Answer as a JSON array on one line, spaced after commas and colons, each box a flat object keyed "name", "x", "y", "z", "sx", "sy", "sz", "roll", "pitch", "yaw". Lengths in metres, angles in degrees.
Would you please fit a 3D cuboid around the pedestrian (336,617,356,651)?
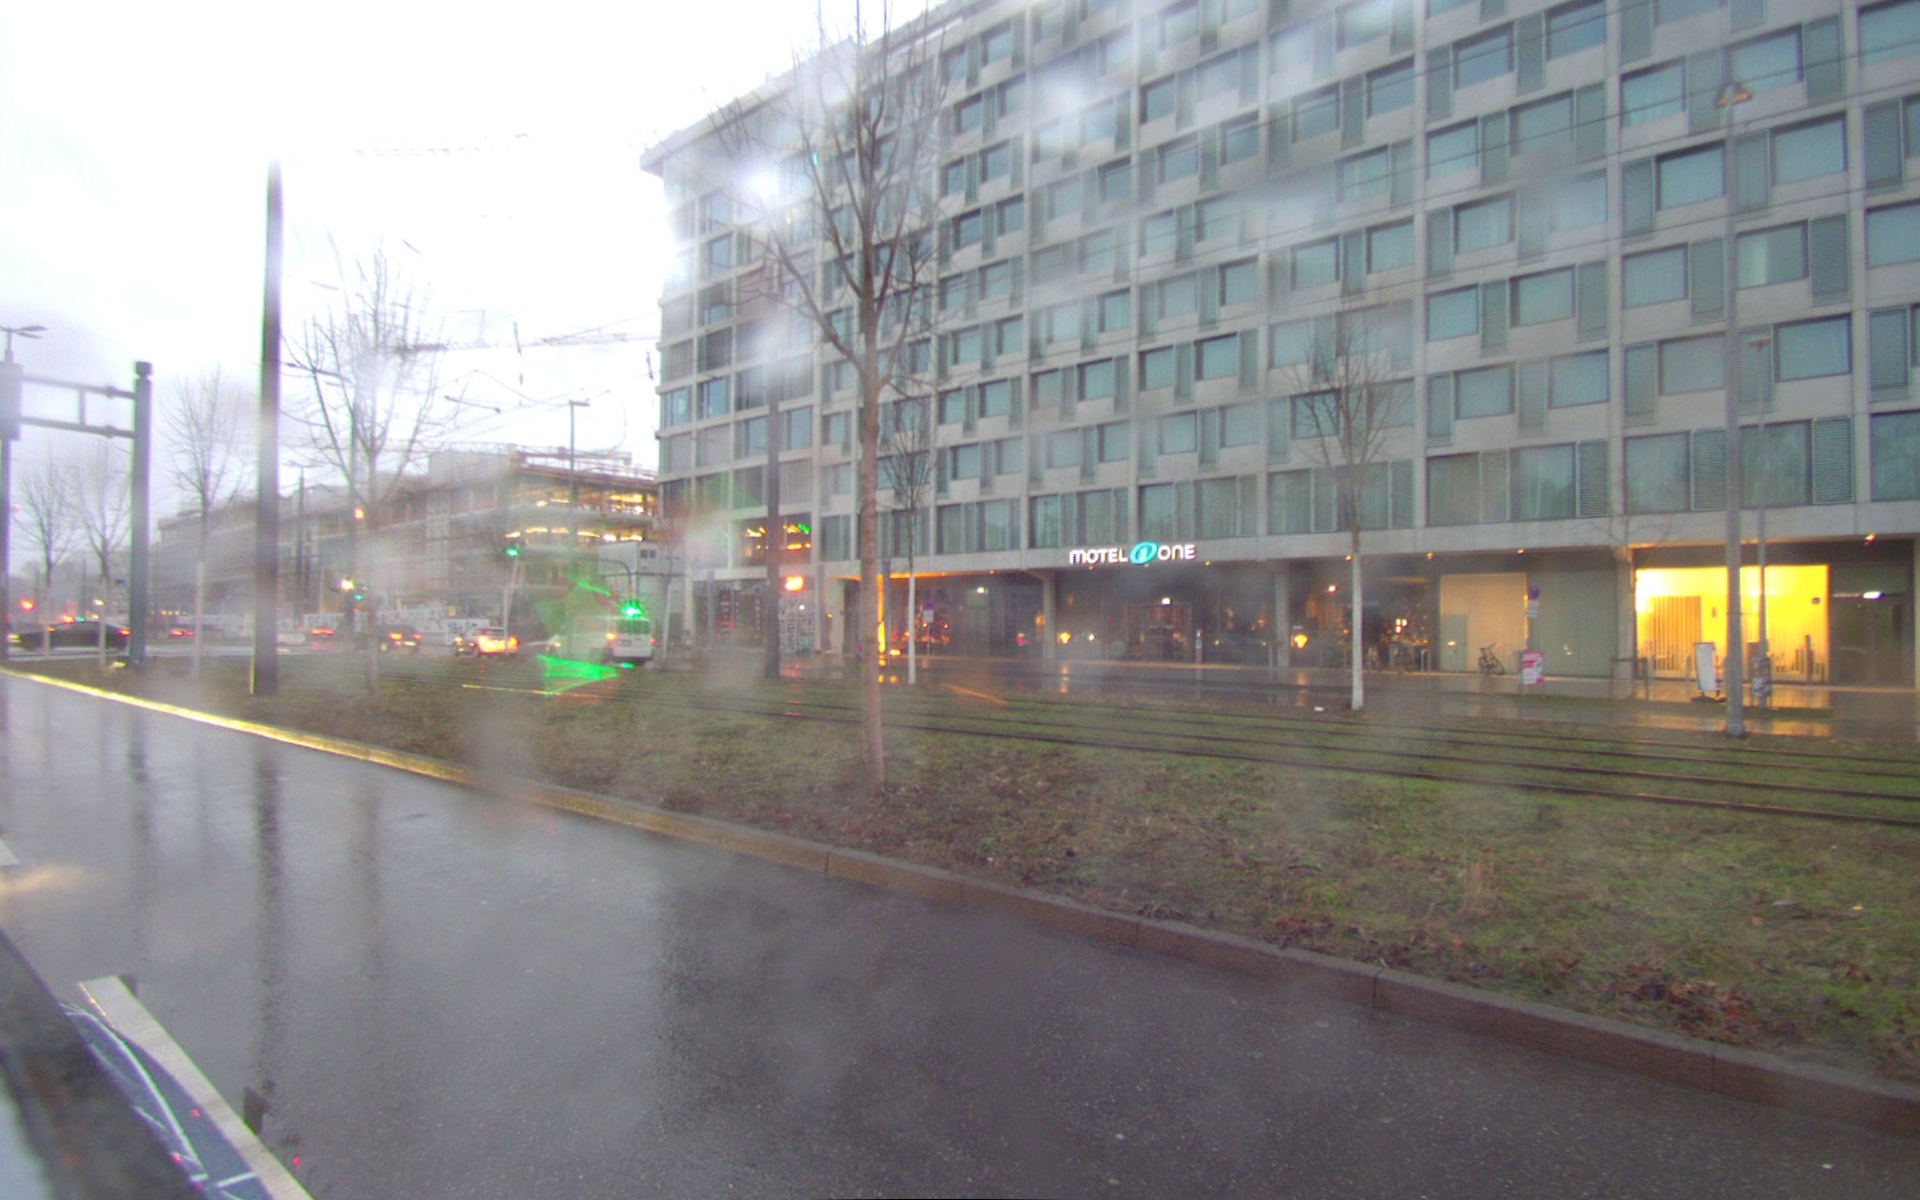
[{"name": "pedestrian", "x": -33.256, "y": 1.845, "z": 54.796, "sx": 0.768, "sy": 1.818, "sz": 0.702, "roll": -1, "pitch": 0, "yaw": 36}]

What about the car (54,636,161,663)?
[{"name": "car", "x": -42.451, "y": 2.426, "z": 50.456, "sx": 3.941, "sy": 1.284, "sz": 1.819, "roll": 2, "pitch": -3, "yaw": -45}]

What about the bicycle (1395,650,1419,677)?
[{"name": "bicycle", "x": 15.813, "y": 2.229, "z": 35.786, "sx": 0.465, "sy": 0.860, "sz": 1.332, "roll": -1, "pitch": 0, "yaw": 39}]

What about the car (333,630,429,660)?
[{"name": "car", "x": -28.602, "y": 2.219, "z": 49.996, "sx": 4.233, "sy": 1.411, "sz": 2.094, "roll": -1, "pitch": -2, "yaw": 25}]

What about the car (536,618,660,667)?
[{"name": "car", "x": -13.271, "y": 1.519, "z": 36.930, "sx": 5.041, "sy": 1.682, "sz": 2.060, "roll": -1, "pitch": -3, "yaw": 41}]

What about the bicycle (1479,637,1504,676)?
[{"name": "bicycle", "x": 18.093, "y": 1.914, "z": 34.441, "sx": 0.465, "sy": 1.247, "sz": 1.520, "roll": -1, "pitch": 0, "yaw": 39}]

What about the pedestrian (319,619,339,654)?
[{"name": "pedestrian", "x": -33.806, "y": 1.940, "z": 54.184, "sx": 0.769, "sy": 1.818, "sz": 0.700, "roll": -1, "pitch": 0, "yaw": 41}]

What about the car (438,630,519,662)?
[{"name": "car", "x": -21.306, "y": 2.007, "z": 44.745, "sx": 3.998, "sy": 1.317, "sz": 1.793, "roll": -1, "pitch": -3, "yaw": 41}]
